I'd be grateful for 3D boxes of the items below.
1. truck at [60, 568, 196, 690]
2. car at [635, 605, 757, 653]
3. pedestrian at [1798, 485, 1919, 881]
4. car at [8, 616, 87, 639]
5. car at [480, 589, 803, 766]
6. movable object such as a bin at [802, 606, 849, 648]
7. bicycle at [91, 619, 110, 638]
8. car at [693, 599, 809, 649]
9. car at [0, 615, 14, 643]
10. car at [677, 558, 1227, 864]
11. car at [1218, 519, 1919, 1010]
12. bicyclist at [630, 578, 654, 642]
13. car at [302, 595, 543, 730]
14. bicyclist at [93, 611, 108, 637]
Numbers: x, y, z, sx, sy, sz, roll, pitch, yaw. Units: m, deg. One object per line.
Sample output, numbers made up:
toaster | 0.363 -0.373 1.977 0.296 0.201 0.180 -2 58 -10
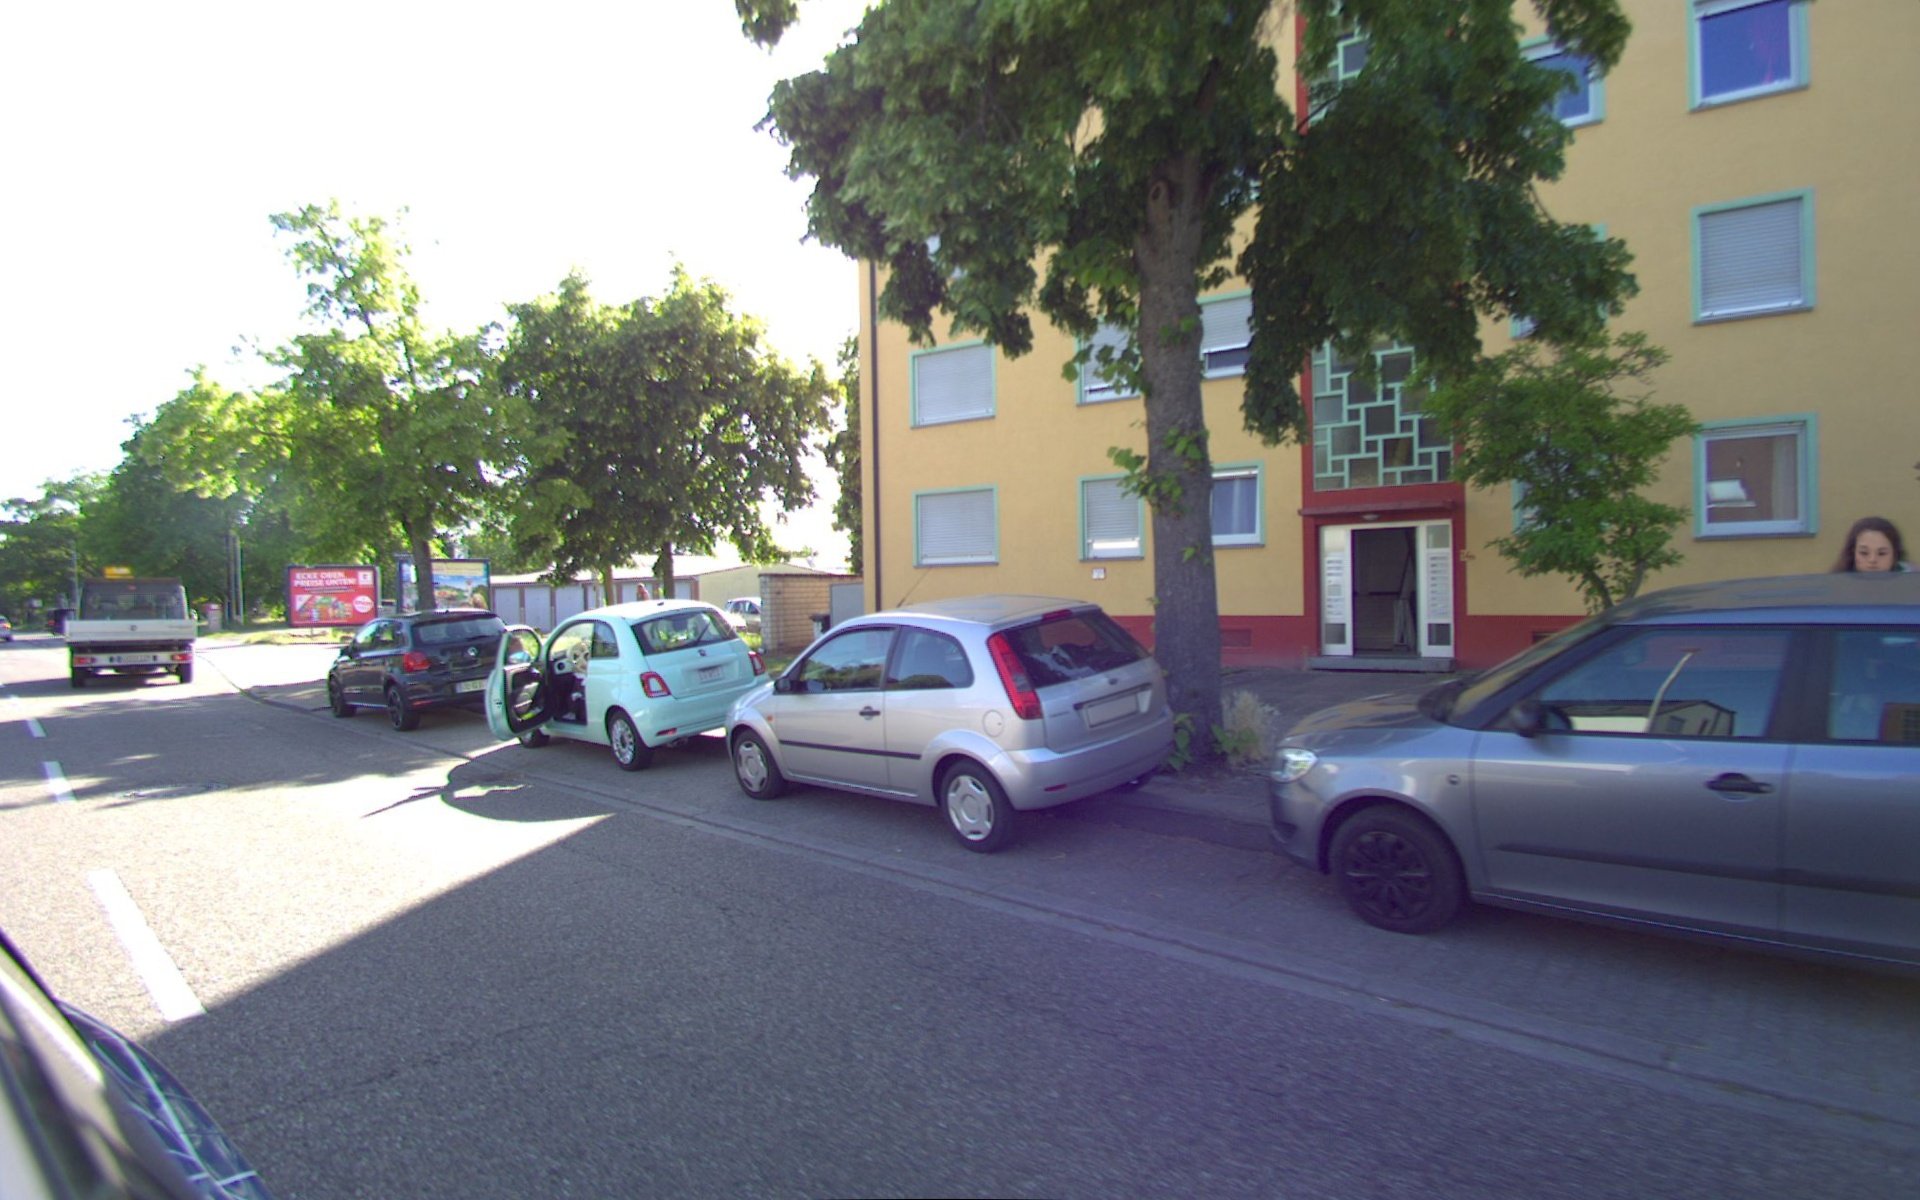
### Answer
truck | -18.596 0.581 22.654 2.103 2.352 6.453 0 0 -40
car | -8.738 0.962 33.441 3.868 1.475 1.716 -2 0 32
pedestrian | 4.403 0.359 4.698 0.721 1.731 0.678 1 1 44
car | -65.569 1.961 72.761 1.707 1.580 3.952 -1 -1 35
car | -3.567 0.663 10.902 1.681 1.534 4.055 0 0 -44
movable object such as a bin | -2.982 0.595 22.384 0.744 0.917 0.690 -2 -1 36
bicycle | -54.602 1.793 64.274 2.023 1.150 0.522 -2 0 39
car | -7.417 0.852 35.882 3.864 1.634 1.687 -2 0 29
car | -54.964 1.649 57.282 4.890 1.500 1.816 -1 0 44
car | -0.280 0.602 7.453 1.639 1.520 4.003 -9 6 -44
car | 3.241 0.503 4.162 1.550 1.541 3.920 -7 4 -44
bicyclist | -8.550 0.267 27.210 0.378 1.698 0.388 -3 0 13
car | -7.574 0.744 14.104 4.052 1.491 1.682 1 3 43
bicyclist | -54.646 1.517 64.320 0.829 1.654 0.536 -2 0 38
